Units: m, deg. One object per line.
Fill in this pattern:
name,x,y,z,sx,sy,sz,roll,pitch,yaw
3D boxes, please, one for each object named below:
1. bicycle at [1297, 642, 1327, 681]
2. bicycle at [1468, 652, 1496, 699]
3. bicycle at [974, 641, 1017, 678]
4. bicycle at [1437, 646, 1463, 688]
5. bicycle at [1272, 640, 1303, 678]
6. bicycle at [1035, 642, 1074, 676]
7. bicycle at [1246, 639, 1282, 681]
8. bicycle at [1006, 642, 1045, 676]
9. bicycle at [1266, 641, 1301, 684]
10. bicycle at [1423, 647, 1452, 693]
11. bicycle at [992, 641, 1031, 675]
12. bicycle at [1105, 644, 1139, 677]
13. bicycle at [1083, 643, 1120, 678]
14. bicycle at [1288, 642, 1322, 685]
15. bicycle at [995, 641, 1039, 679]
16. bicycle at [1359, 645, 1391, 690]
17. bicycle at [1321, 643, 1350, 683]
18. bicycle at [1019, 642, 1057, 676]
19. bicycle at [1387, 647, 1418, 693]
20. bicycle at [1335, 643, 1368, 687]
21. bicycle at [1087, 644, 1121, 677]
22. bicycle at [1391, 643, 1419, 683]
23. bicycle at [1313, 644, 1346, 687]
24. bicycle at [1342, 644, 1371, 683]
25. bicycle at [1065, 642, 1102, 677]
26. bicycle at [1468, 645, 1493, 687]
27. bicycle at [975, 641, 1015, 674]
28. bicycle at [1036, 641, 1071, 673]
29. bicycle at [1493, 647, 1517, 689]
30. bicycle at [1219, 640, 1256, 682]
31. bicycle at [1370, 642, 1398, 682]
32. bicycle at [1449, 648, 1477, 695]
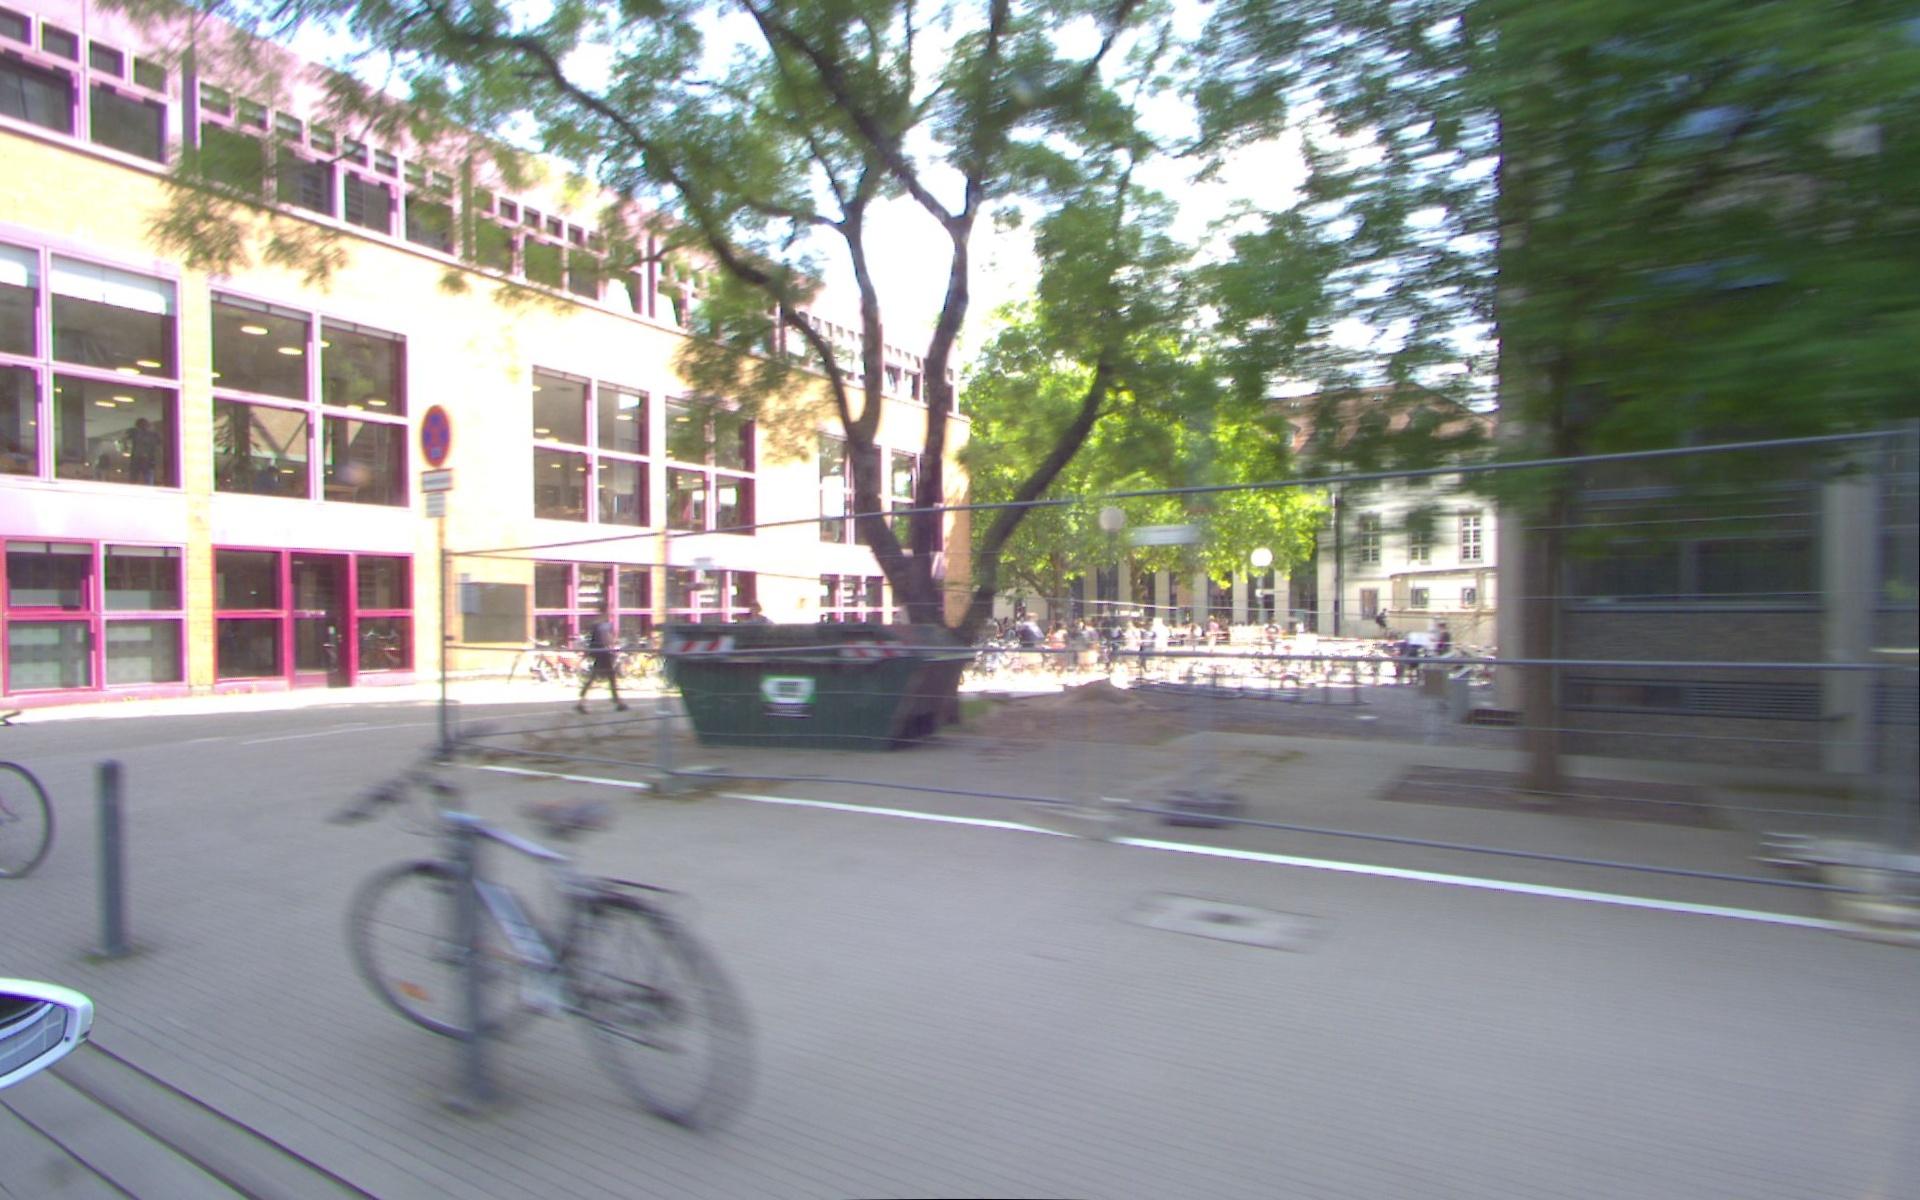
bicycle,11.186,1.942,31.773,0.537,1.183,1.995,0,-3,31
bicycle,13.766,1.977,26.388,0.537,1.183,1.995,0,-3,31
bicycle,1.192,1.962,33.039,0.537,1.183,1.995,0,-3,31
bicycle,14.641,1.995,29.893,0.537,1.183,1.995,0,-3,31
bicycle,10.511,1.885,32.096,0.537,1.183,1.995,0,-3,31
bicycle,3.353,2.092,35.387,0.537,1.183,1.995,0,-3,31
bicycle,8.904,1.758,29.298,0.537,1.183,1.995,0,-3,31
bicycle,2.372,2.130,36.207,0.537,1.183,1.995,0,-3,31
bicycle,9.375,1.813,28.989,0.537,1.183,1.995,0,-3,31
bicycle,12.857,1.866,26.939,0.537,1.183,1.995,0,-3,31
bicycle,1.903,2.125,36.567,0.537,1.183,1.995,0,-3,31
bicycle,5.931,2.216,36.583,0.537,1.183,1.995,0,-3,31
bicycle,4.886,2.093,34.525,0.537,1.183,1.995,0,-3,31
bicycle,9.900,1.813,28.704,0.537,1.183,1.995,0,-3,31
bicycle,1.873,1.955,32.567,0.537,1.183,1.995,0,-3,31
bicycle,11.506,1.857,27.751,0.537,1.183,1.995,0,-3,31
bicycle,11.819,1.978,31.486,0.537,1.183,1.995,0,-3,31
bicycle,2.813,2.114,35.876,0.537,1.183,1.995,0,-3,31
bicycle,12.031,1.899,27.211,0.537,1.183,1.995,0,-3,31
bicycle,10.979,1.828,28.058,0.537,1.183,1.995,0,-3,31
bicycle,5.343,2.238,37.045,0.537,1.183,1.995,0,-3,31
bicycle,13.620,1.930,30.613,0.537,1.183,1.995,0,-3,31
bicycle,10.509,1.853,28.423,0.537,1.183,1.995,0,-3,31
bicycle,12.342,1.970,31.120,0.537,1.183,1.995,0,-3,31
bicycle,4.329,2.096,35.046,0.537,1.183,1.995,0,-3,31
bicycle,15.319,1.944,29.465,0.537,1.183,2.059,0,-3,31
bicycle,1.305,2.127,36.924,0.537,1.183,1.995,0,-3,31
bicycle,3.592,2.178,38.297,0.537,1.183,1.995,0,-3,31
bicycle,15.843,1.971,29.082,0.537,1.183,2.059,0,-3,31
bicycle,8.223,1.804,29.601,0.537,1.183,1.995,0,-3,31
bicycle,13.103,1.910,30.936,0.537,1.183,1.995,0,-3,31
bicycle,13.365,1.898,26.599,0.537,1.183,1.995,0,-3,31
